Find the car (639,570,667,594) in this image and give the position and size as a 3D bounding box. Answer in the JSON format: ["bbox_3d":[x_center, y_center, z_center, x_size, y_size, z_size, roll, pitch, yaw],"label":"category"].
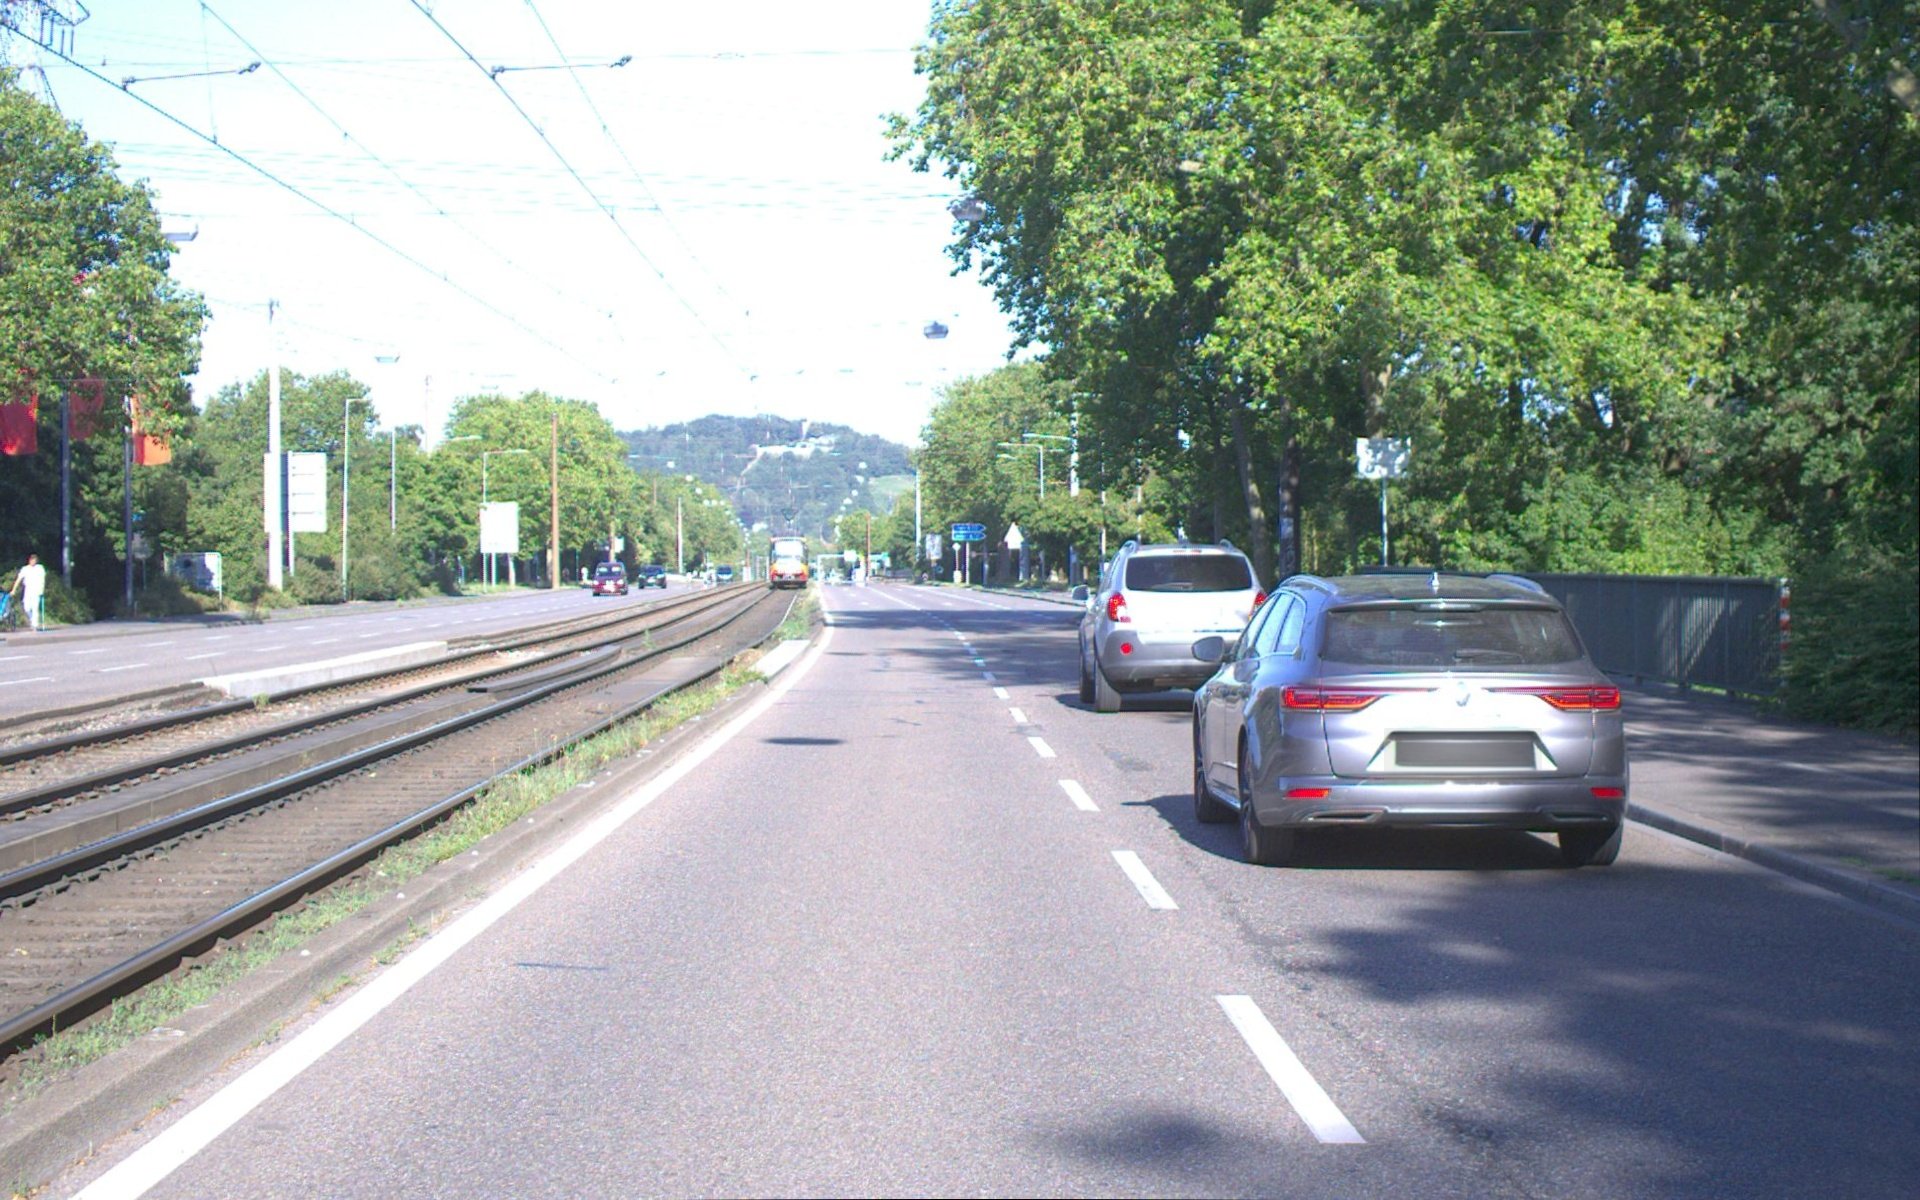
[{"bbox_3d":[-22.392,-1.337,250.702,1.905,1.638,4.001,2,1,-4],"label":"car"}]

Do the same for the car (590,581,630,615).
[{"bbox_3d":[-19.114,-0.120,187.932,1.862,1.714,4.001,0,1,-2],"label":"car"}]

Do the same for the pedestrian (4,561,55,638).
[{"bbox_3d":[-21.611,-0.013,79.870,0.725,1.750,0.834,2,-1,21],"label":"pedestrian"}]

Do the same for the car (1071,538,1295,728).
[{"bbox_3d":[2.259,0.293,35.825,1.883,1.789,4.001,2,1,-2],"label":"car"}]

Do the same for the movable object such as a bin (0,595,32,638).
[{"bbox_3d":[-21.964,0.374,78.962,0.725,0.958,1.100,2,0,20],"label":"movable object such as a bin"}]

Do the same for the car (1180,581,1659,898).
[{"bbox_3d":[2.285,0.636,18.303,1.866,1.462,4.666,0,0,-1],"label":"car"}]
